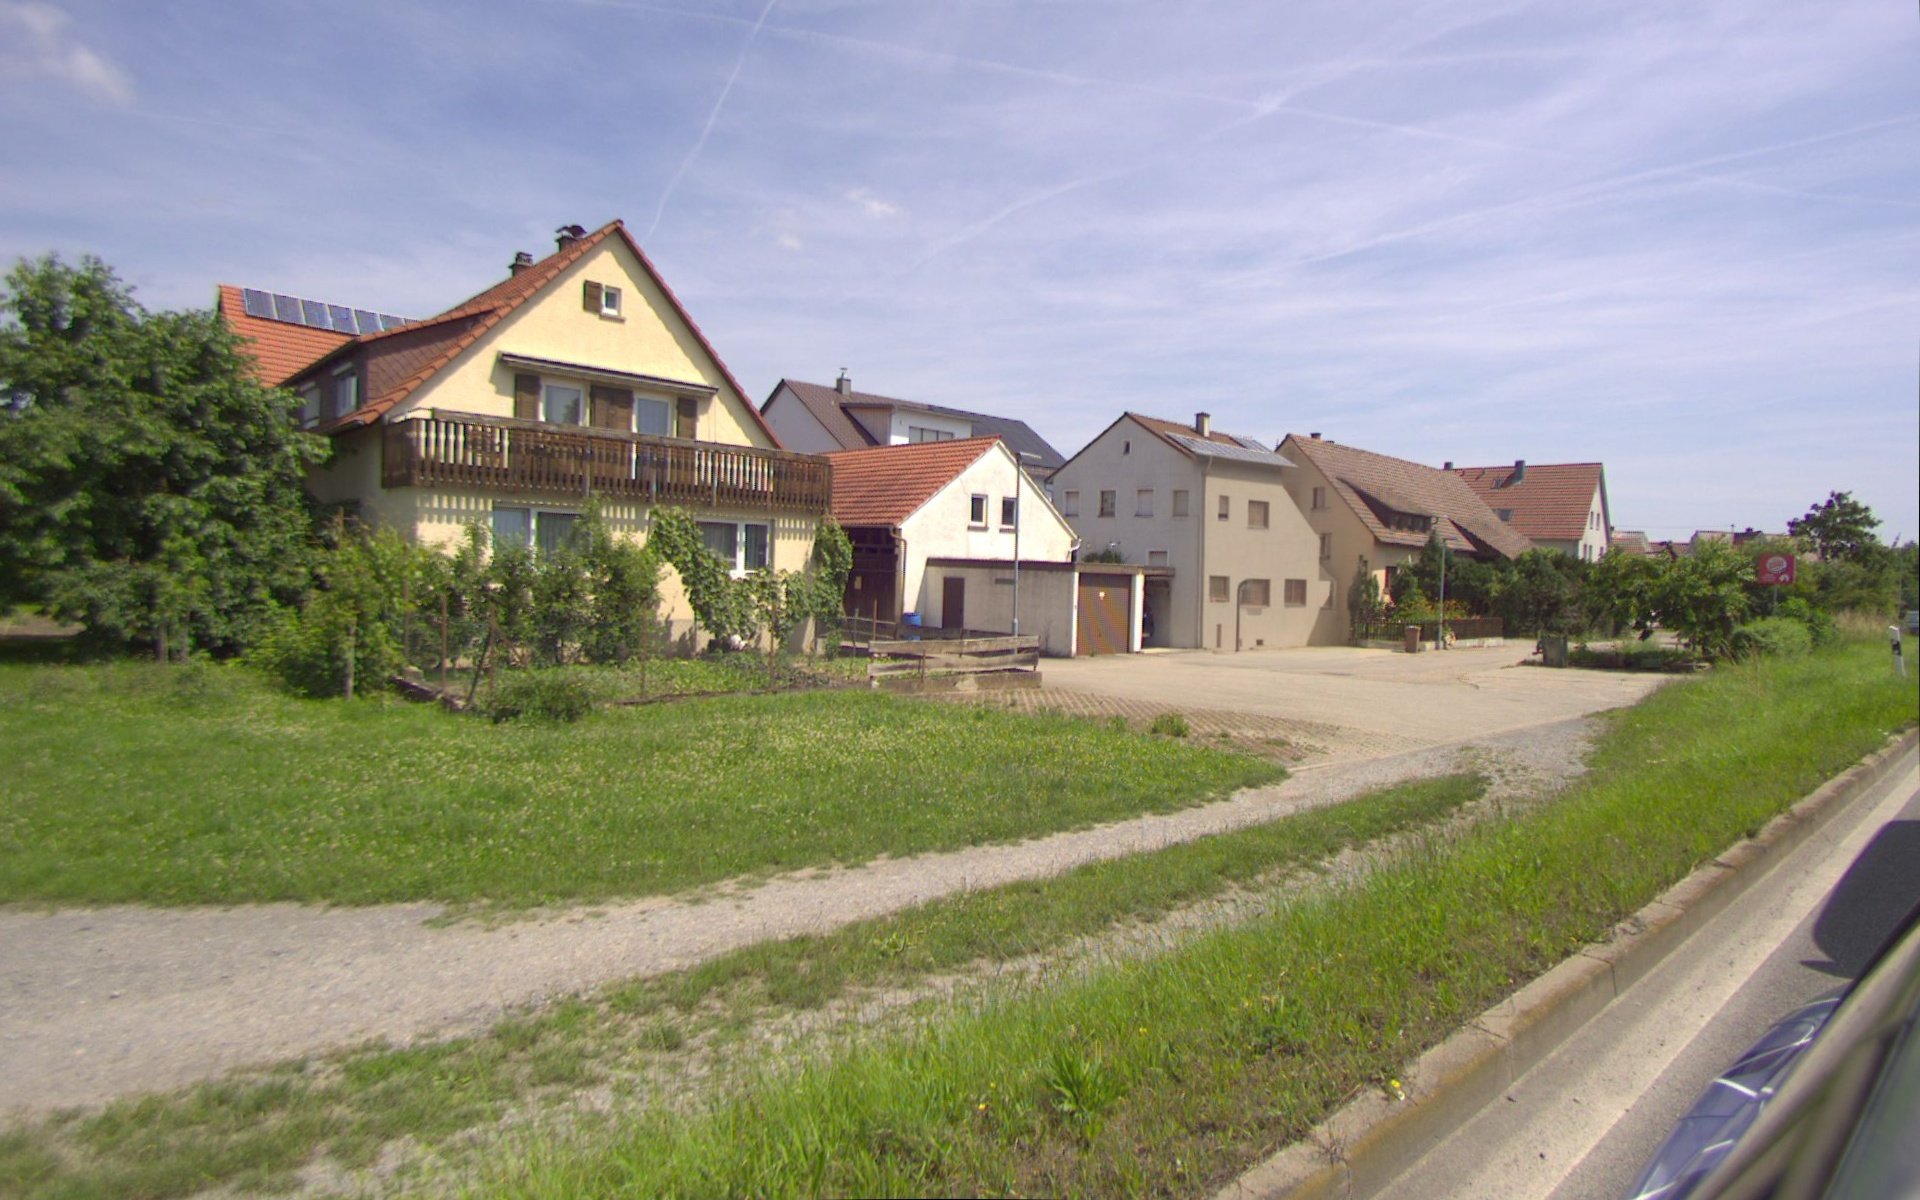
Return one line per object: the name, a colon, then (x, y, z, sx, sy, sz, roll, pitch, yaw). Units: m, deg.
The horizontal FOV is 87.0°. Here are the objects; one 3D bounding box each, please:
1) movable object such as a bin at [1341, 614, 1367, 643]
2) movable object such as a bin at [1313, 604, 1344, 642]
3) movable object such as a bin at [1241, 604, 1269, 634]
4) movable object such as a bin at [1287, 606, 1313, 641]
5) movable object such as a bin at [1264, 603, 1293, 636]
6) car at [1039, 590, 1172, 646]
movable object such as a bin: (14.643, 1.058, 37.577, 0.743, 1.040, 0.645, 1, 0, -42)
movable object such as a bin: (13.926, 0.867, 38.279, 0.930, 1.387, 0.764, 1, 0, -42)
movable object such as a bin: (11.862, 0.766, 40.708, 0.816, 1.171, 0.739, 1, 0, -42)
movable object such as a bin: (13.271, 0.904, 39.492, 0.806, 1.355, 0.677, 1, 0, -42)
movable object such as a bin: (12.630, 0.774, 40.147, 0.874, 1.262, 0.744, 1, 0, -42)
car: (4.576, 0.526, 32.211, 1.794, 1.624, 3.995, 1, 1, -40)
